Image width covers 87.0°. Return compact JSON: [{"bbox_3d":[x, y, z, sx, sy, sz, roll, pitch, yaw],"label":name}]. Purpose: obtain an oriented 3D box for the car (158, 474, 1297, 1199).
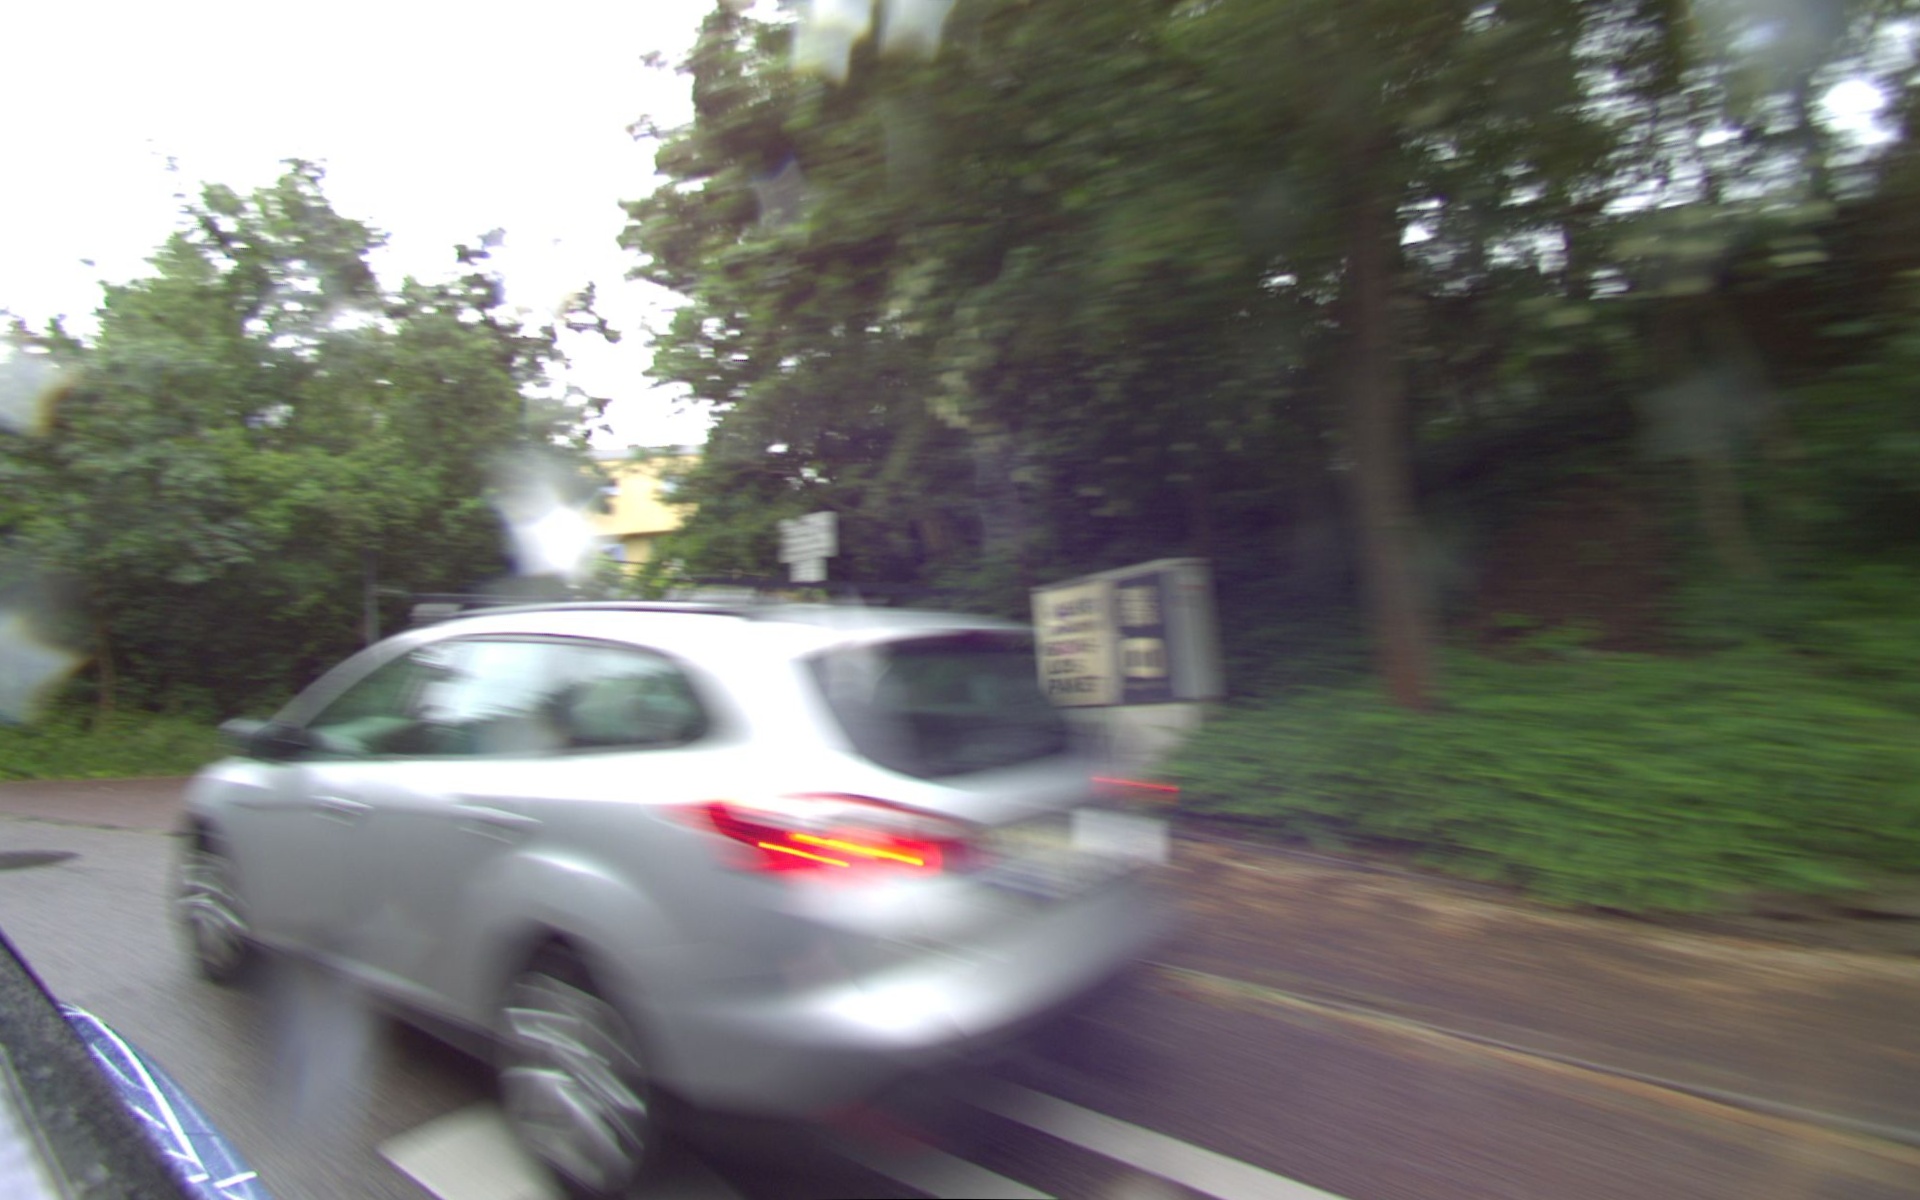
[{"bbox_3d":[-1.161,0.577,3.576,4.115,1.548,1.656,-2,2,38],"label":"car"}]
